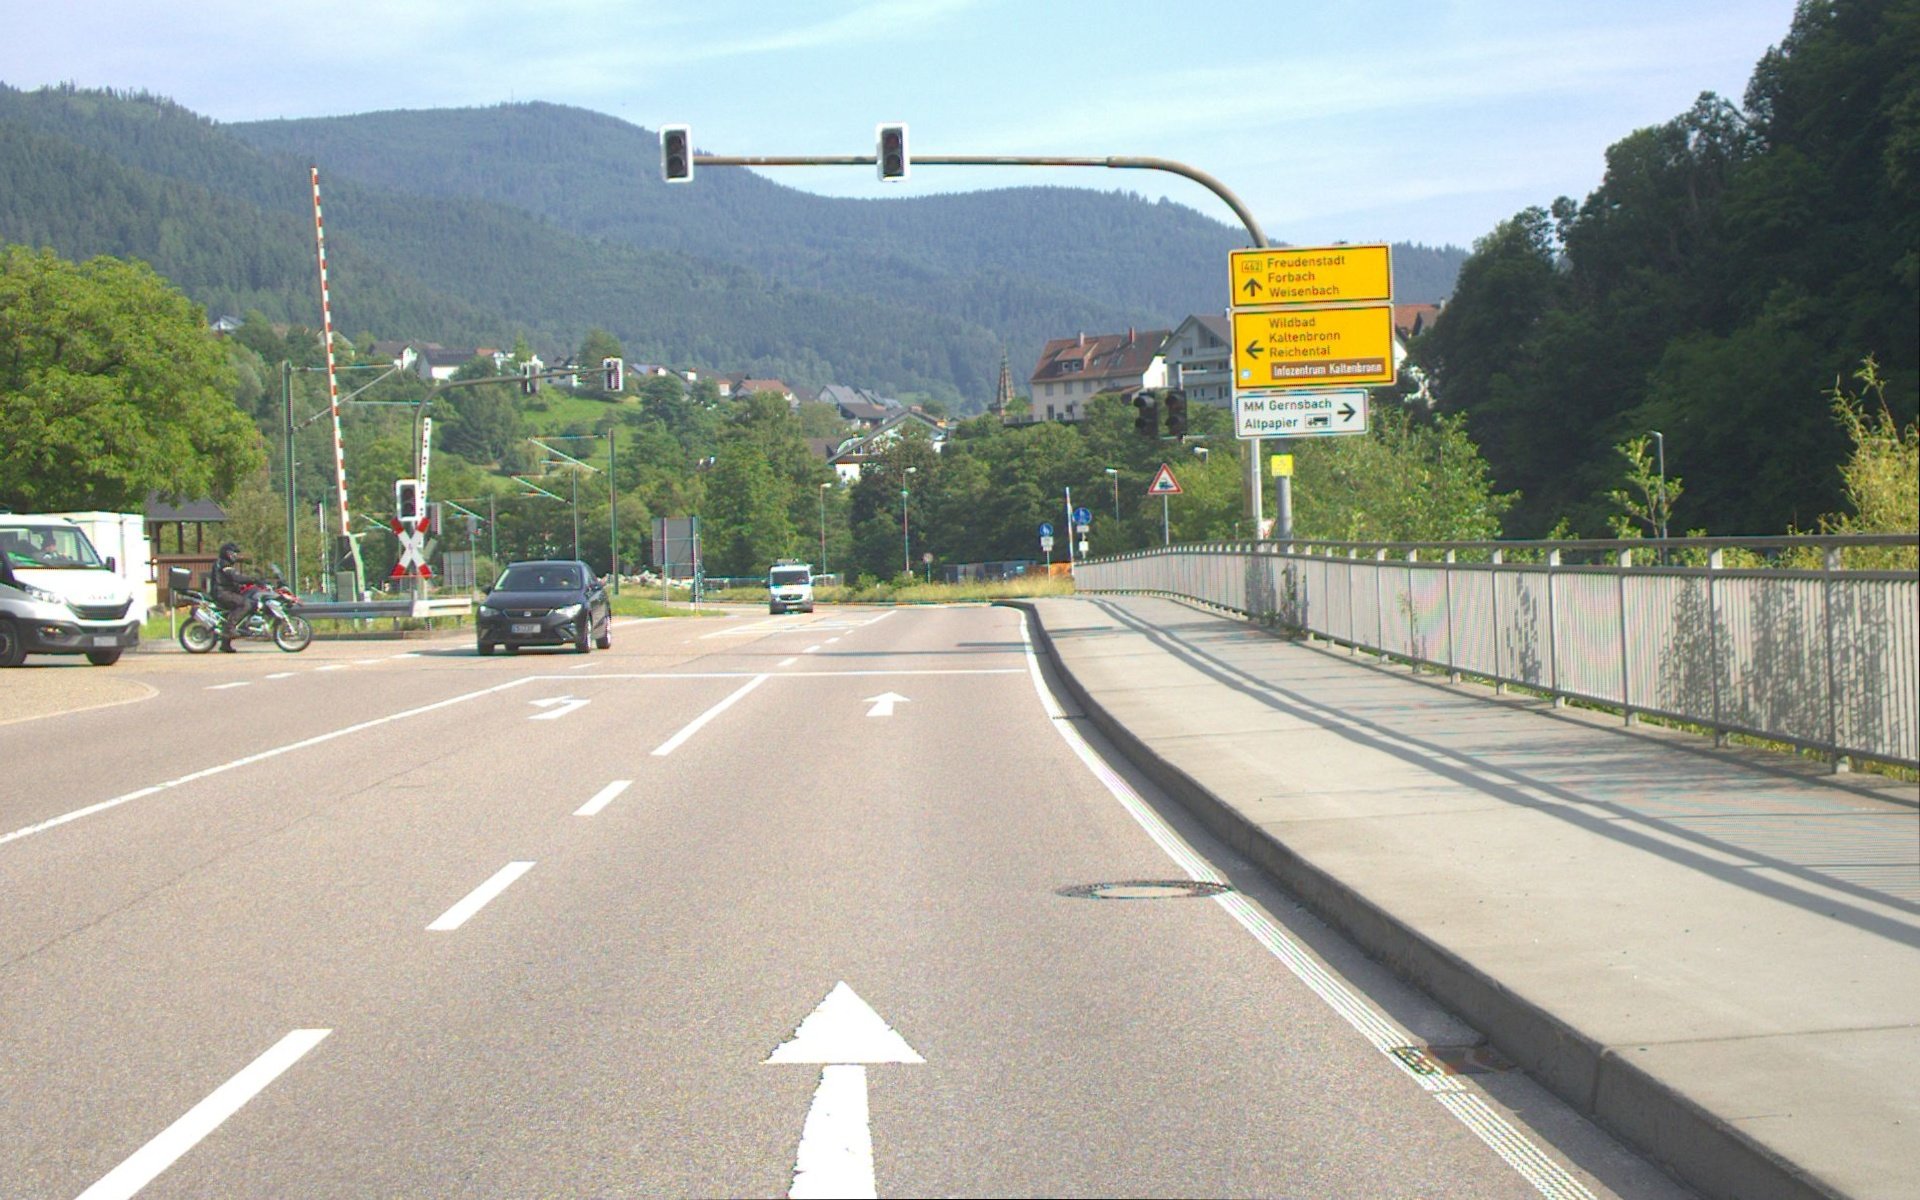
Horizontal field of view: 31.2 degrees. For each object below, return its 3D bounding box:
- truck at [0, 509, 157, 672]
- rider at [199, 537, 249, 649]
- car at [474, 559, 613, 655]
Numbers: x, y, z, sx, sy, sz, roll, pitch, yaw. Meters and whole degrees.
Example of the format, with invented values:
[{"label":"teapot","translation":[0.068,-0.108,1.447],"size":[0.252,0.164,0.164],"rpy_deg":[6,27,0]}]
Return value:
[{"label":"truck","translation":[-14.537,-0.135,50.037],"size":[5.995,2.259,1.996],"rpy_deg":[0,0,34]},{"label":"rider","translation":[-12.033,-0.117,56.192],"size":[0.752,1.813,0.743],"rpy_deg":[0,1,-15]},{"label":"car","translation":[-6.499,0.081,53.933],"size":[1.773,1.412,3.785],"rpy_deg":[-1,1,-1]}]
